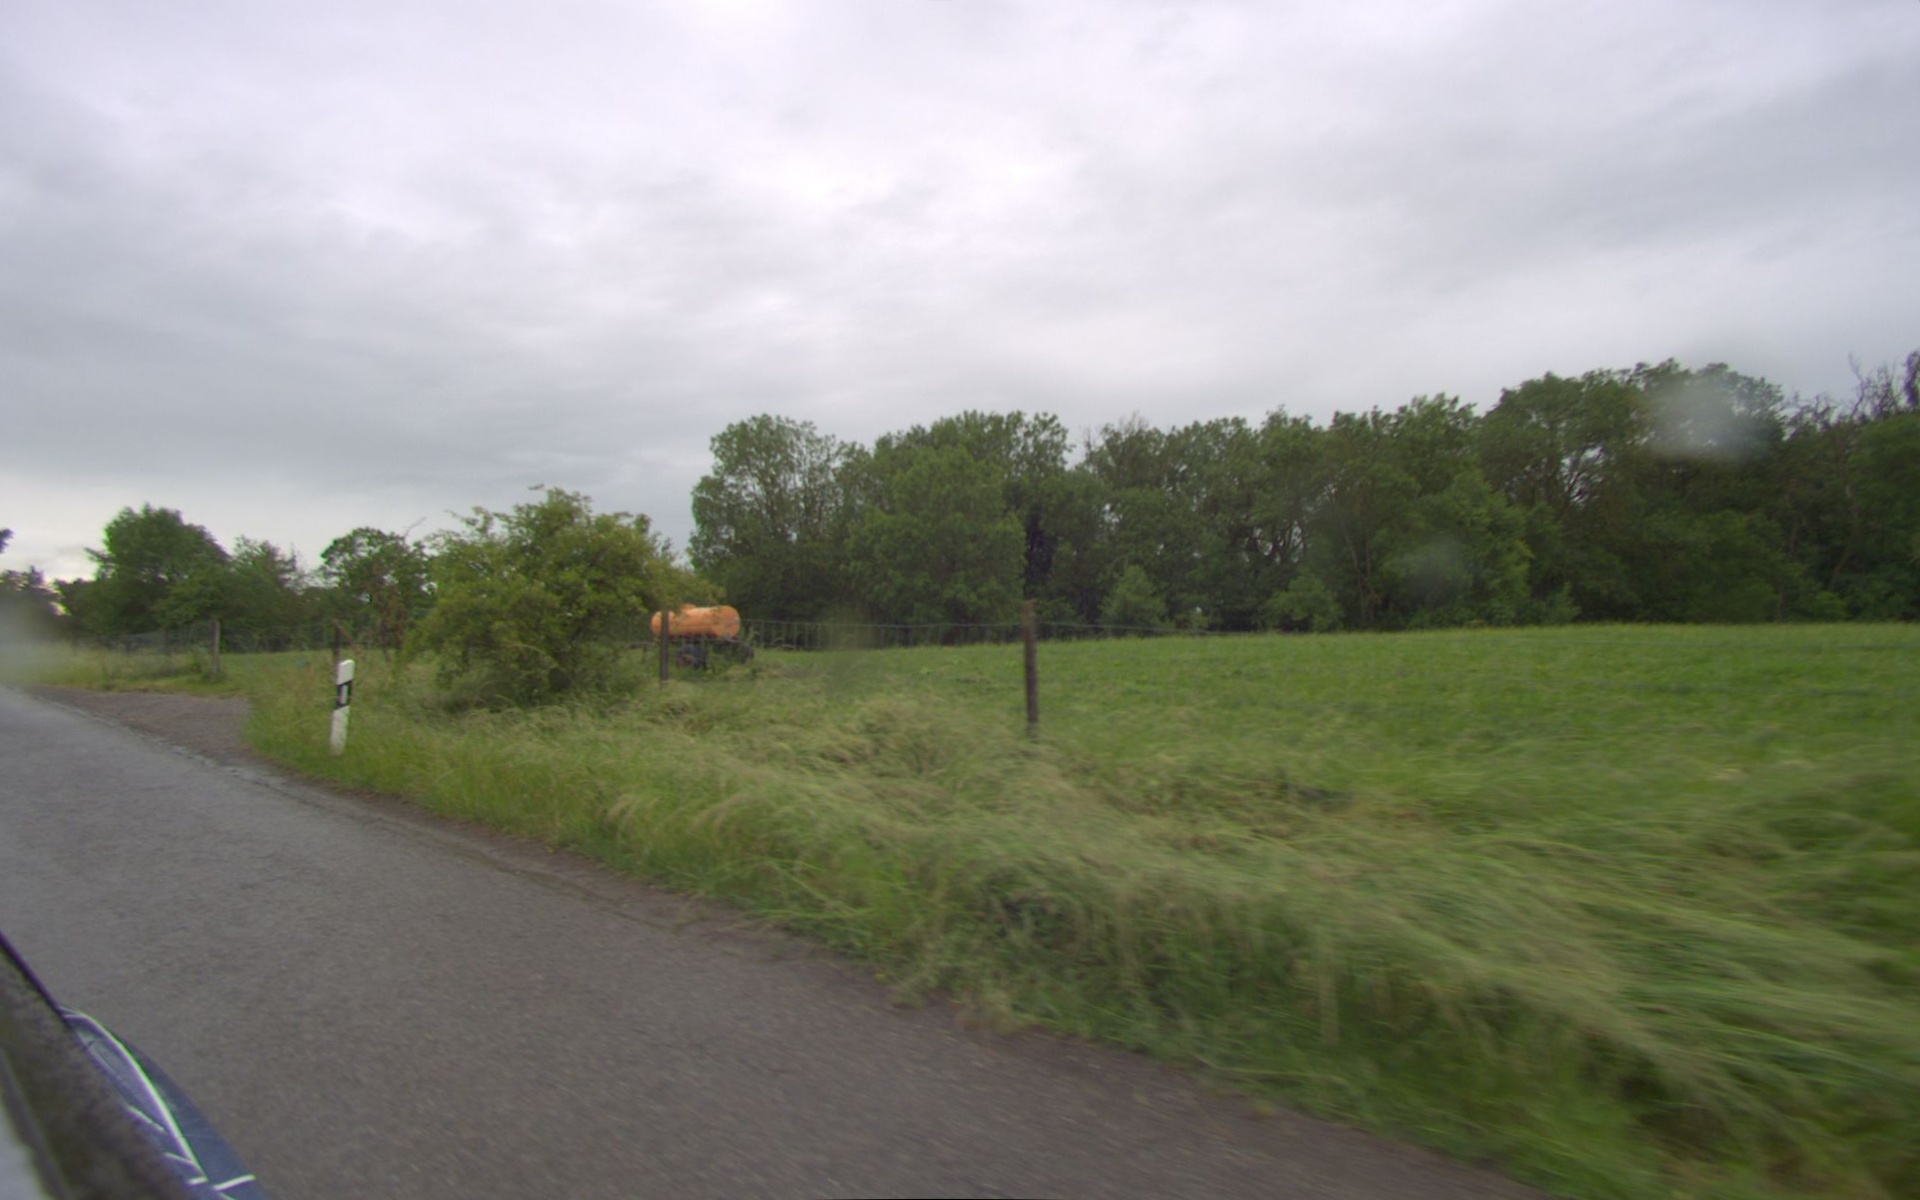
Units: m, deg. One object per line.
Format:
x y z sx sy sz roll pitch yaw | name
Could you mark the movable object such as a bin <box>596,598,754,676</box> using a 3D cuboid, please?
-6.375 0.779 22.539 3.535 1.582 1.662 -1 0 39 | movable object such as a bin
